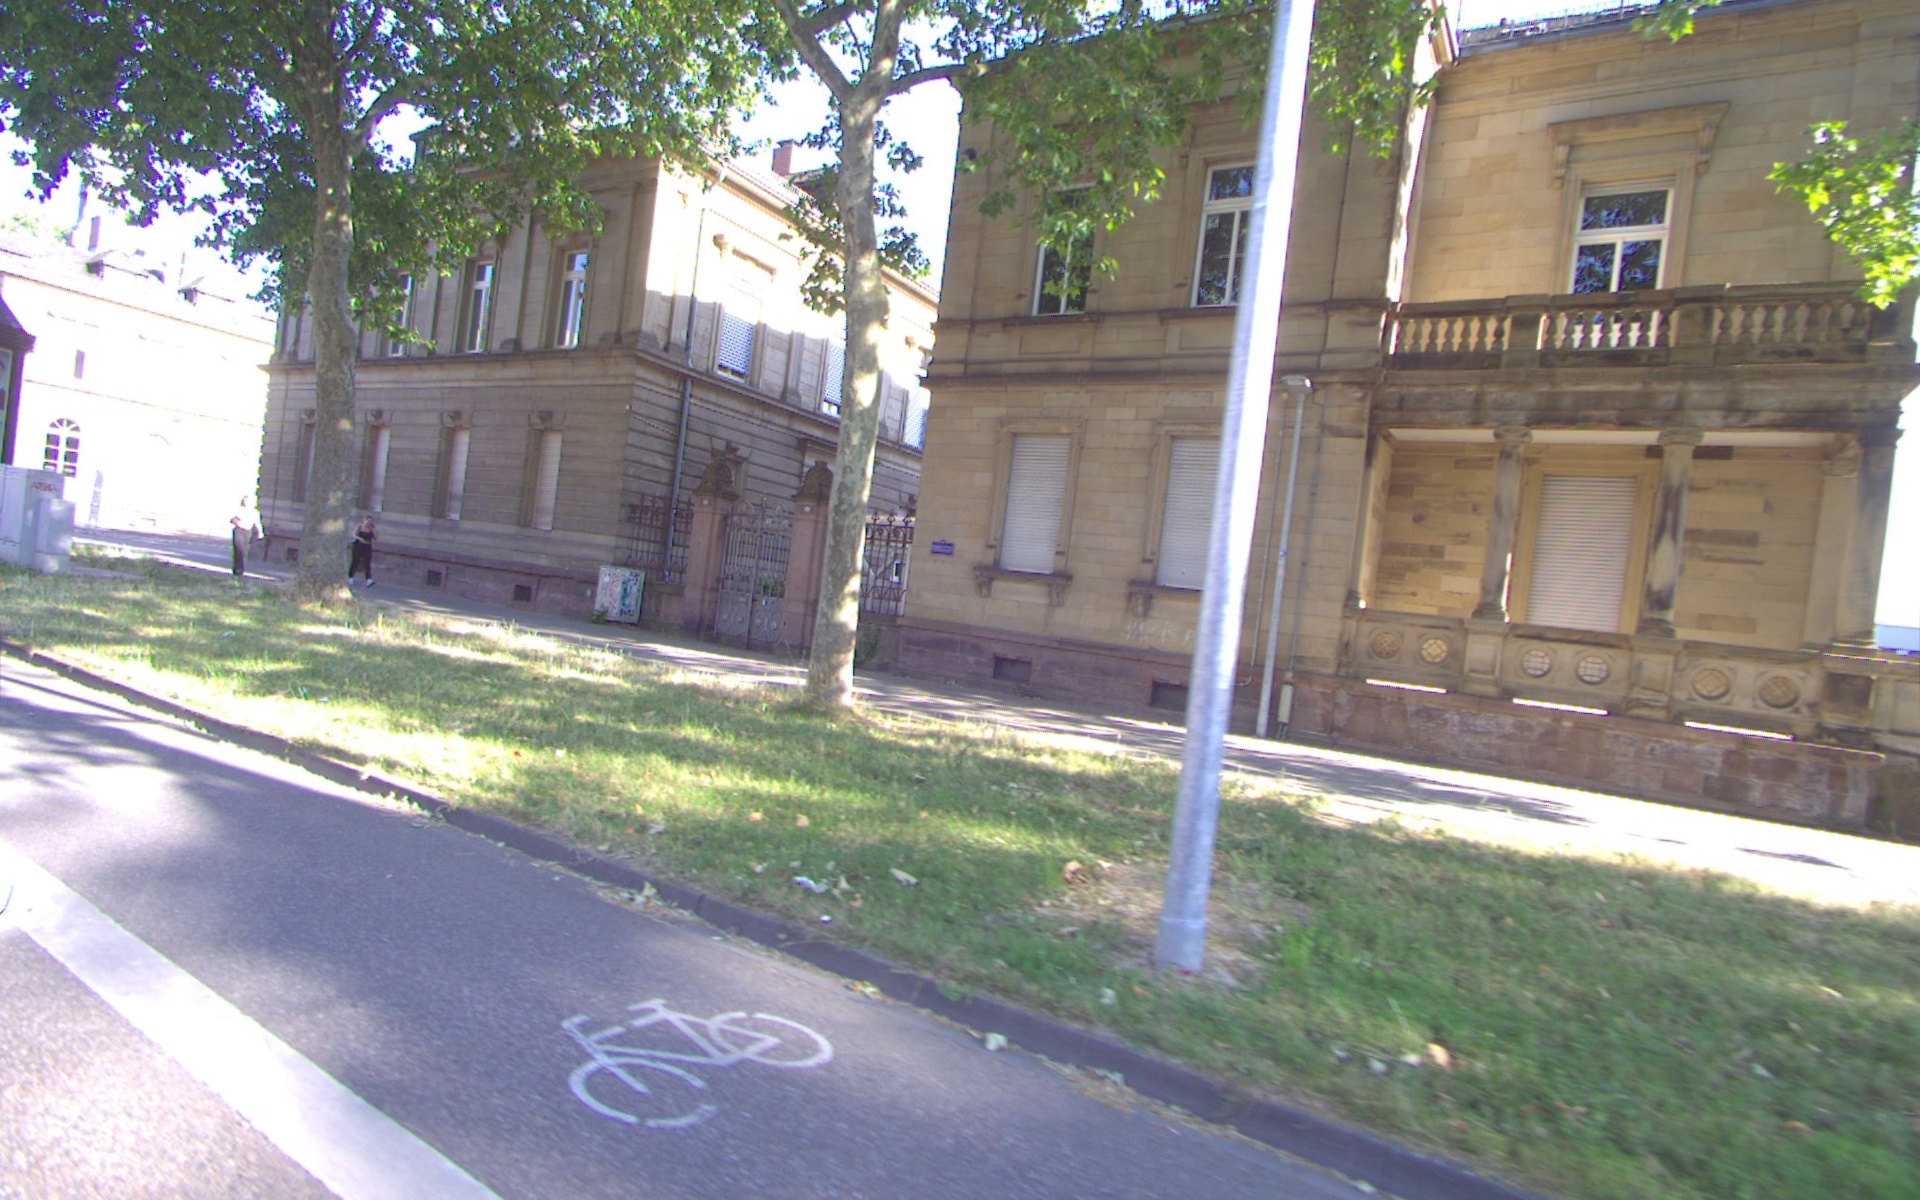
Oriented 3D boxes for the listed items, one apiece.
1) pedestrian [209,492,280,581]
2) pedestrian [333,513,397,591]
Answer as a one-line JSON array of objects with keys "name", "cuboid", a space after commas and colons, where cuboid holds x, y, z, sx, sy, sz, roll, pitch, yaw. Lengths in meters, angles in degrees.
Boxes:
[{"name": "pedestrian", "cuboid": [-15.100, -1.342, 21.231, 1.025, 1.731, 0.770, 7, 1, 34]}, {"name": "pedestrian", "cuboid": [-13.562, -1.088, 22.925, 0.970, 1.626, 0.770, 7, 1, 33]}]
